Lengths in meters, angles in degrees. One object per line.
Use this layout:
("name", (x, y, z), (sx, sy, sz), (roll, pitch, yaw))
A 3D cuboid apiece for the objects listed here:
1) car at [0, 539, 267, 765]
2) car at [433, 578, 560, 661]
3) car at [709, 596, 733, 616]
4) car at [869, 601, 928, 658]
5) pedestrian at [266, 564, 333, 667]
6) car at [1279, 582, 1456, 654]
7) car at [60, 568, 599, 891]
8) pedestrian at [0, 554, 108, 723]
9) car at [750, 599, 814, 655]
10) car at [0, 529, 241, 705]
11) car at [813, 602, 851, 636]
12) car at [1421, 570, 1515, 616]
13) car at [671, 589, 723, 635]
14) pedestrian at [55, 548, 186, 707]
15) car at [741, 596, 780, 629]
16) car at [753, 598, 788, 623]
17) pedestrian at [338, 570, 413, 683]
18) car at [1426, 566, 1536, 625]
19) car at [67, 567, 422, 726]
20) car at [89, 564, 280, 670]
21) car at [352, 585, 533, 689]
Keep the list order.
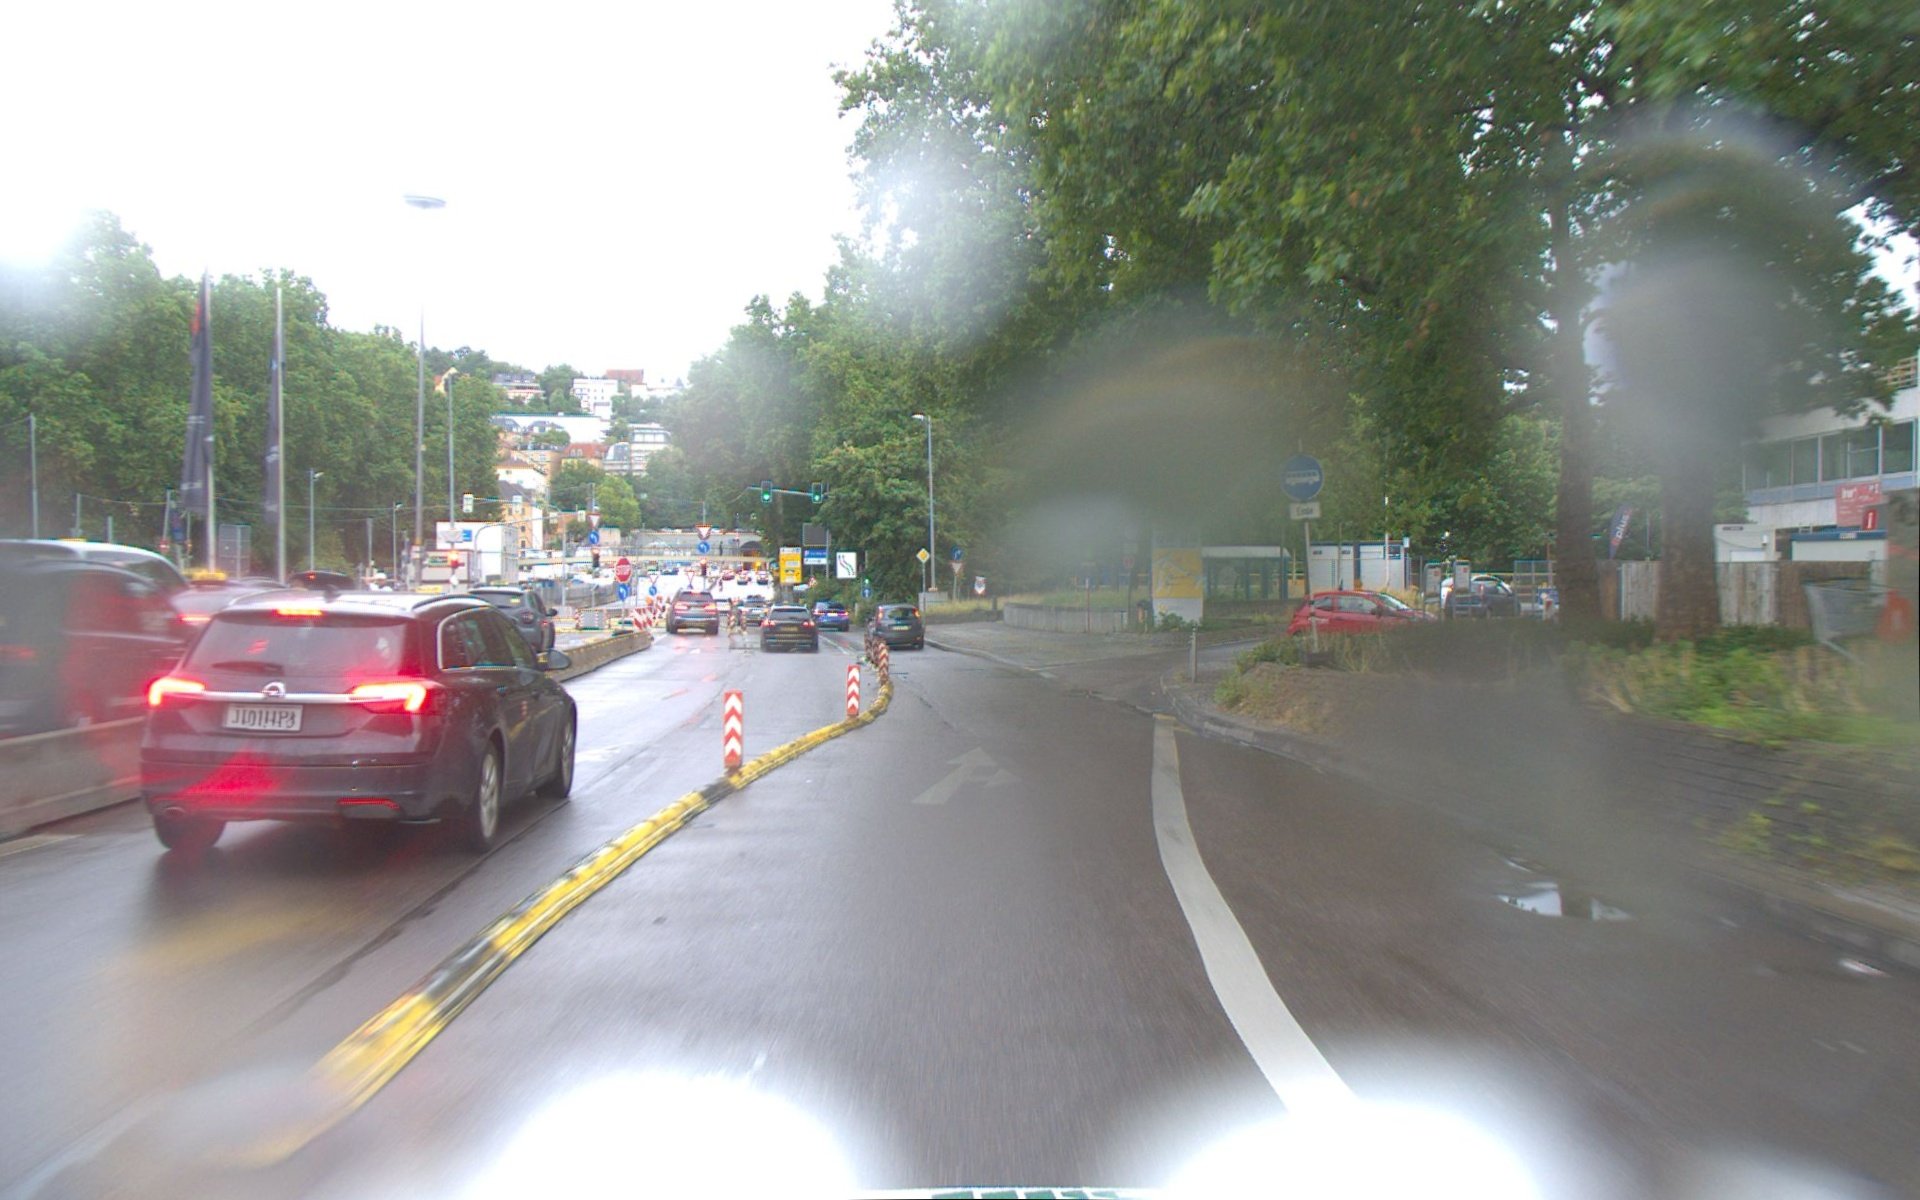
("car", (-7.334, 0.350, 13.477), (1.788, 1.537, 4.486), (1, 0, -5))
("car", (-9.487, 0.388, 34.146), (1.956, 1.557, 4.144), (-1, 0, -8))
("car", (-19.912, 0.465, 137.713), (1.782, 1.602, 3.988), (1, 0, -12))
("car", (-2.031, 0.929, 54.002), (1.815, 1.747, 3.997), (1, 0, -3))
("pedestrian", (-11.241, 0.260, 28.135), (1.012, 1.711, 0.829), (0, 0, -26))
("car", (9.281, 0.395, 37.781), (3.549, 1.532, 1.727), (1, 0, 38))
("car", (-3.546, 0.614, 10.373), (1.841, 1.534, 4.847), (0, 0, -4))
("pedestrian", (-10.108, 0.407, 18.300), (0.816, 1.815, 1.028), (0, 0, 1))
("car", (-5.723, 0.845, 53.600), (1.794, 1.715, 4.132), (0, 0, -3))
("car", (-11.507, 0.203, 22.045), (1.955, 2.049, 5.362), (1, 0, -6))
("car", (-6.180, 0.899, 80.249), (1.640, 1.609, 3.238), (1, 0, -2))
("car", (21.141, -0.258, 68.772), (1.918, 1.812, 4.423), (1, -1, 44))
("car", (-10.996, 0.490, 68.987), (1.958, 1.859, 3.989), (1, 0, -11))
("pedestrian", (-9.180, 0.289, 18.114), (1.003, 1.704, 0.836), (0, 0, 1))
("car", (-11.051, 0.687, 91.919), (1.866, 1.747, 3.997), (1, 0, -3))
("car", (-12.701, 0.676, 110.776), (1.609, 1.653, 3.776), (1, 0, -18))
("pedestrian", (-10.727, 0.472, 30.357), (1.005, 2.049, 0.835), (0, 0, 27))
("car", (18.955, -0.152, 60.076), (2.096, 2.049, 4.620), (1, 0, 42))
("car", (-7.849, 0.468, 18.774), (1.933, 1.537, 5.003), (1, 0, -2))
("car", (-13.082, 0.266, 28.156), (1.681, 1.658, 4.050), (1, 0, -6))
("car", (-8.830, 0.585, 28.680), (1.955, 1.595, 4.870), (-1, 0, -5))
